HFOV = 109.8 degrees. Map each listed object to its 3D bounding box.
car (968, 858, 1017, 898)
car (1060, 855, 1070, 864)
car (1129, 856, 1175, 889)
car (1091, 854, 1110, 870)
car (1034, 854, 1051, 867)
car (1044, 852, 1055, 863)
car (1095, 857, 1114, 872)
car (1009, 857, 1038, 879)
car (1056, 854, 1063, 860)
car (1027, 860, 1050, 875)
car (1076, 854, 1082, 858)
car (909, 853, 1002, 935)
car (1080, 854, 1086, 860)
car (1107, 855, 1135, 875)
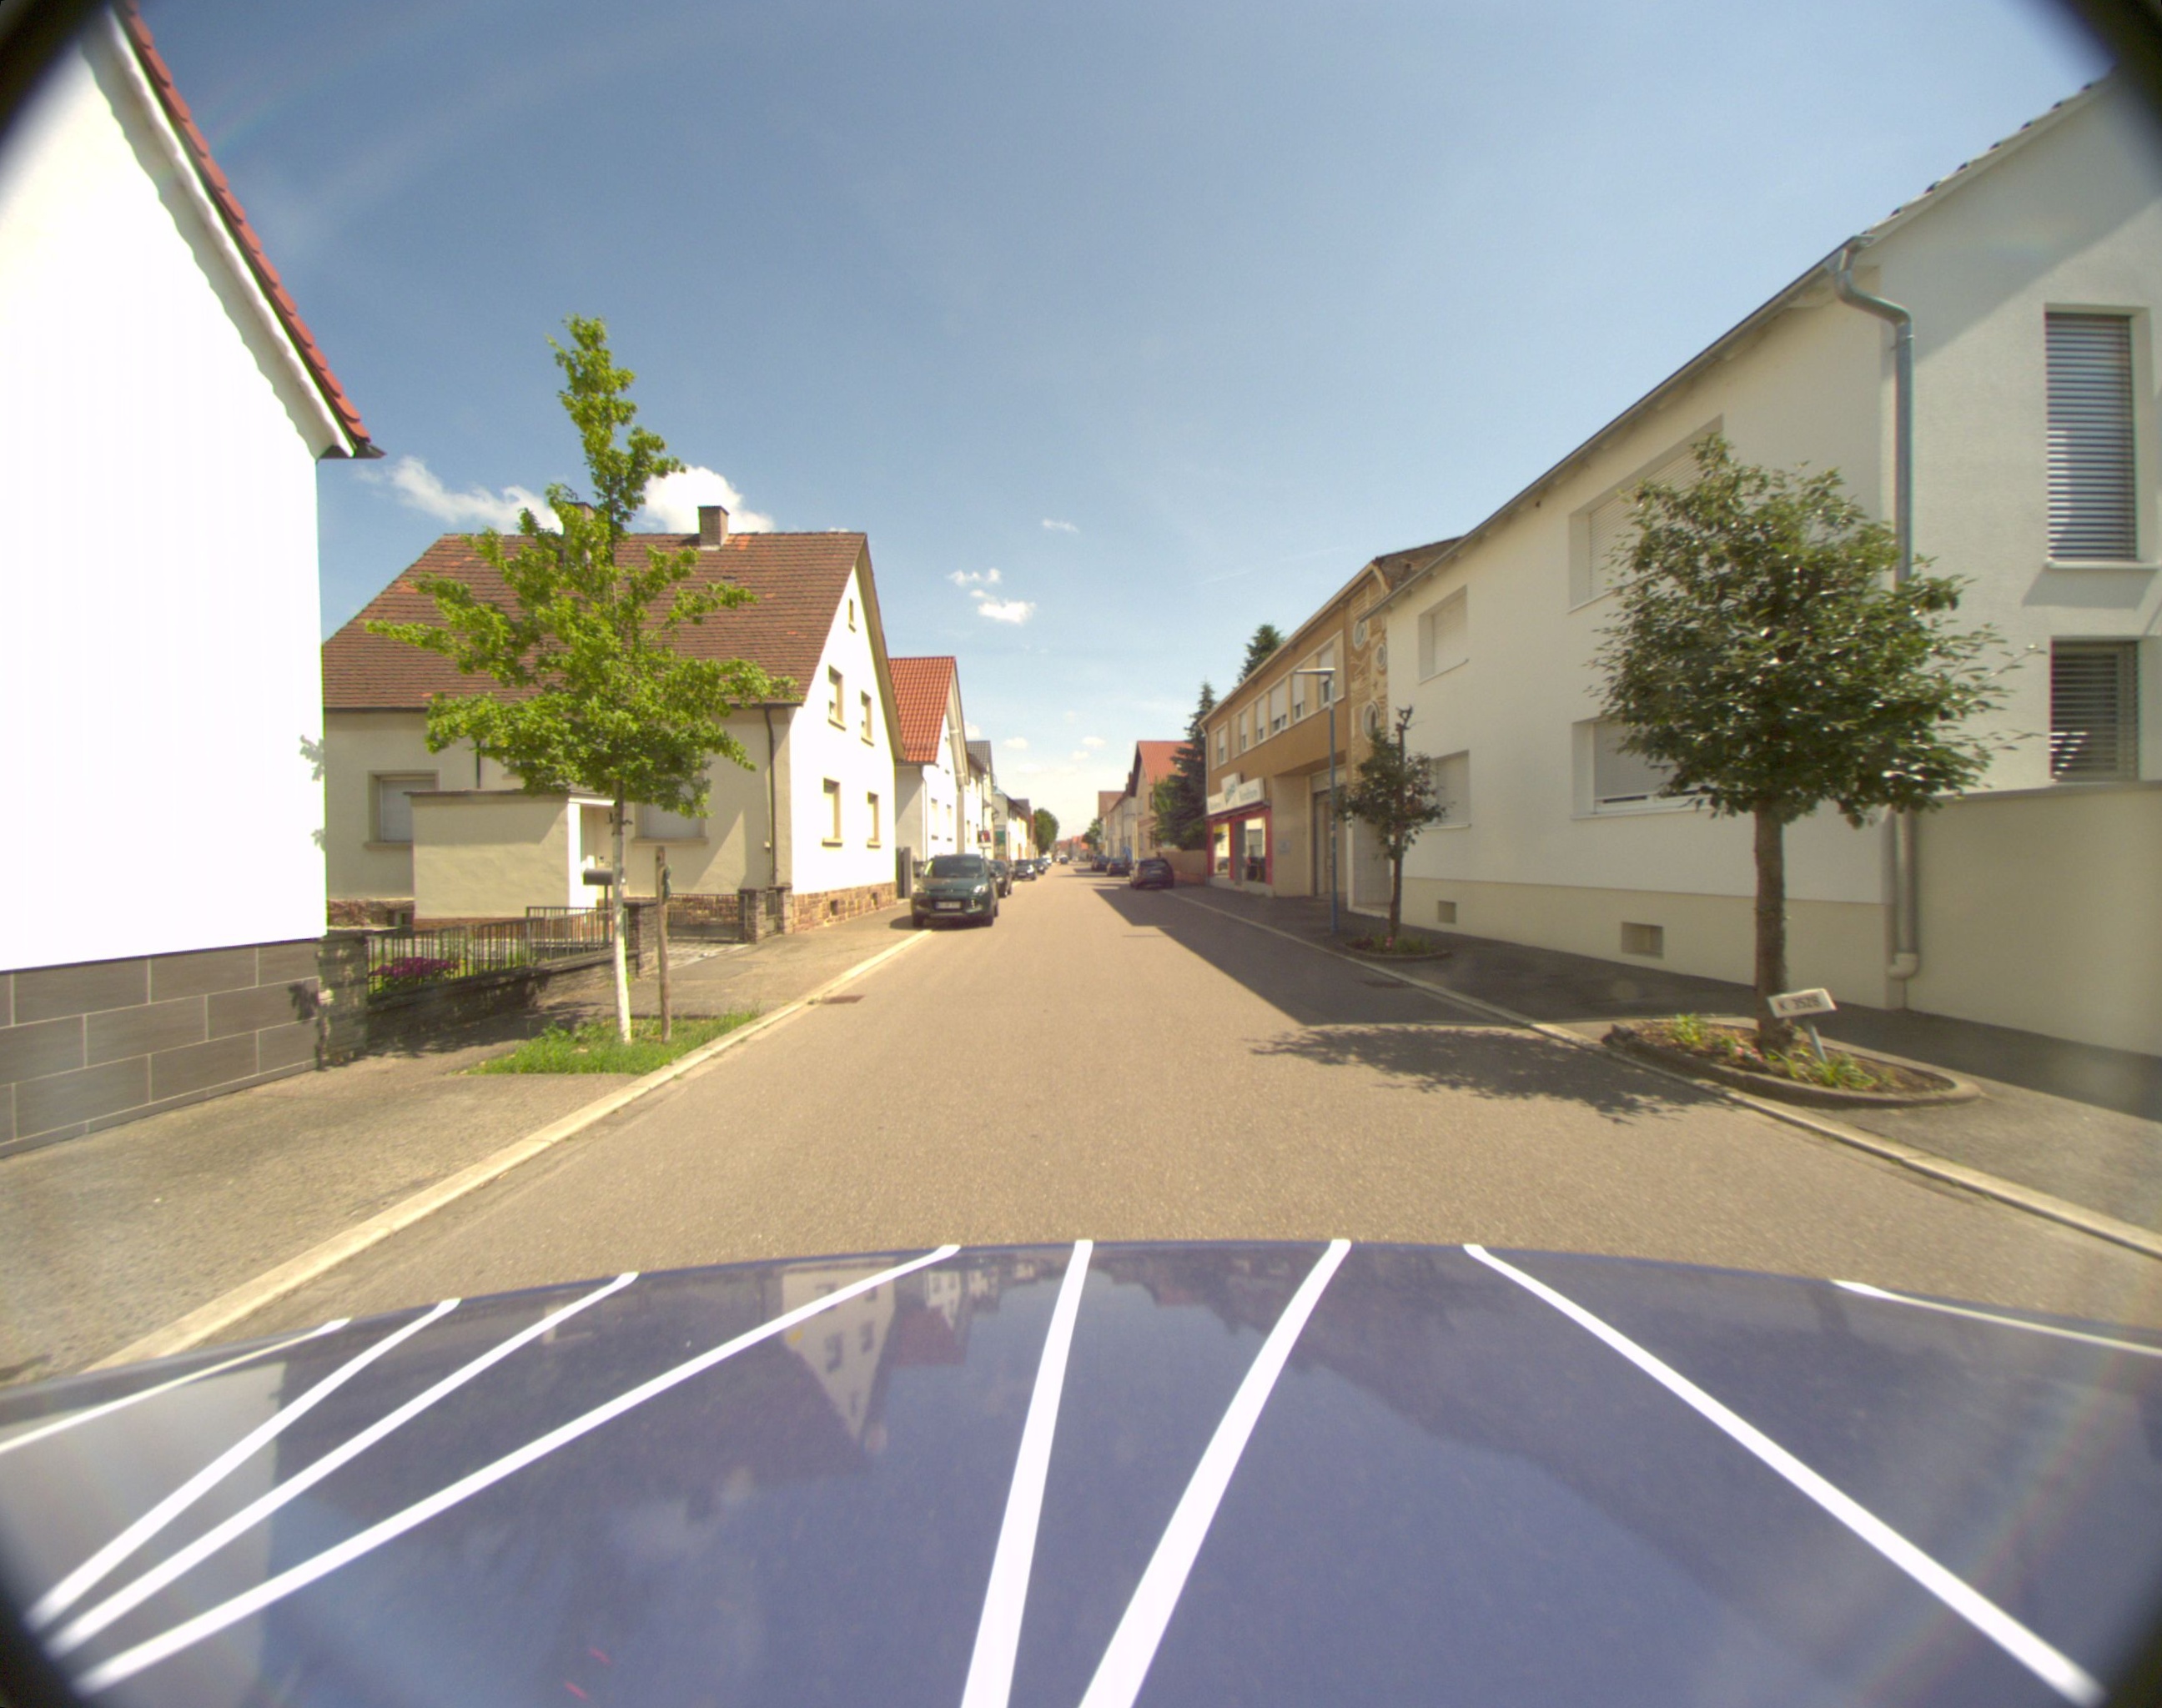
[{"bbox_3d":[-3.625,0.938,31.708,1.621,1.487,3.971,2,0,-1],"label":"car"},{"bbox_3d":[-3.092,1.114,146.668,1.598,1.533,4.200,-3,1,1],"label":"car"},{"bbox_3d":[3.306,0.830,36.164,1.772,1.451,4.436,-1,0,1],"label":"car"},{"bbox_3d":[2.095,0.857,81.793,1.722,1.630,4.148,1,0,-2],"label":"car"},{"bbox_3d":[-4.915,0.824,96.271,1.725,1.473,3.750,2,0,3],"label":"car"},{"bbox_3d":[-5.413,0.636,132.531,1.693,1.831,4.763,1,0,-1],"label":"car"},{"bbox_3d":[2.315,0.996,75.161,1.702,1.403,4.389,-1,0,-1],"label":"car"},{"bbox_3d":[-3.807,0.911,50.673,1.693,1.414,3.656,-1,0,-1],"label":"car"},{"bbox_3d":[-5.623,0.851,197.310,1.848,1.385,4.169,-1,-2,-4],"label":"car"},{"bbox_3d":[-3.797,1.191,68.075,1.820,1.268,4.146,-1,0,0],"label":"car"},{"bbox_3d":[-0.690,0.589,228.142,1.598,1.385,4.167,-2,0,-1],"label":"car"},{"bbox_3d":[-2.921,0.853,18.454,1.733,1.707,4.274,-1,0,-3],"label":"car"},{"bbox_3d":[0.539,0.754,210.681,1.727,1.385,4.170,-1,-2,0],"label":"car"},{"bbox_3d":[2.989,0.810,57.081,1.766,1.366,4.065,-2,0,-1],"label":"car"}]
